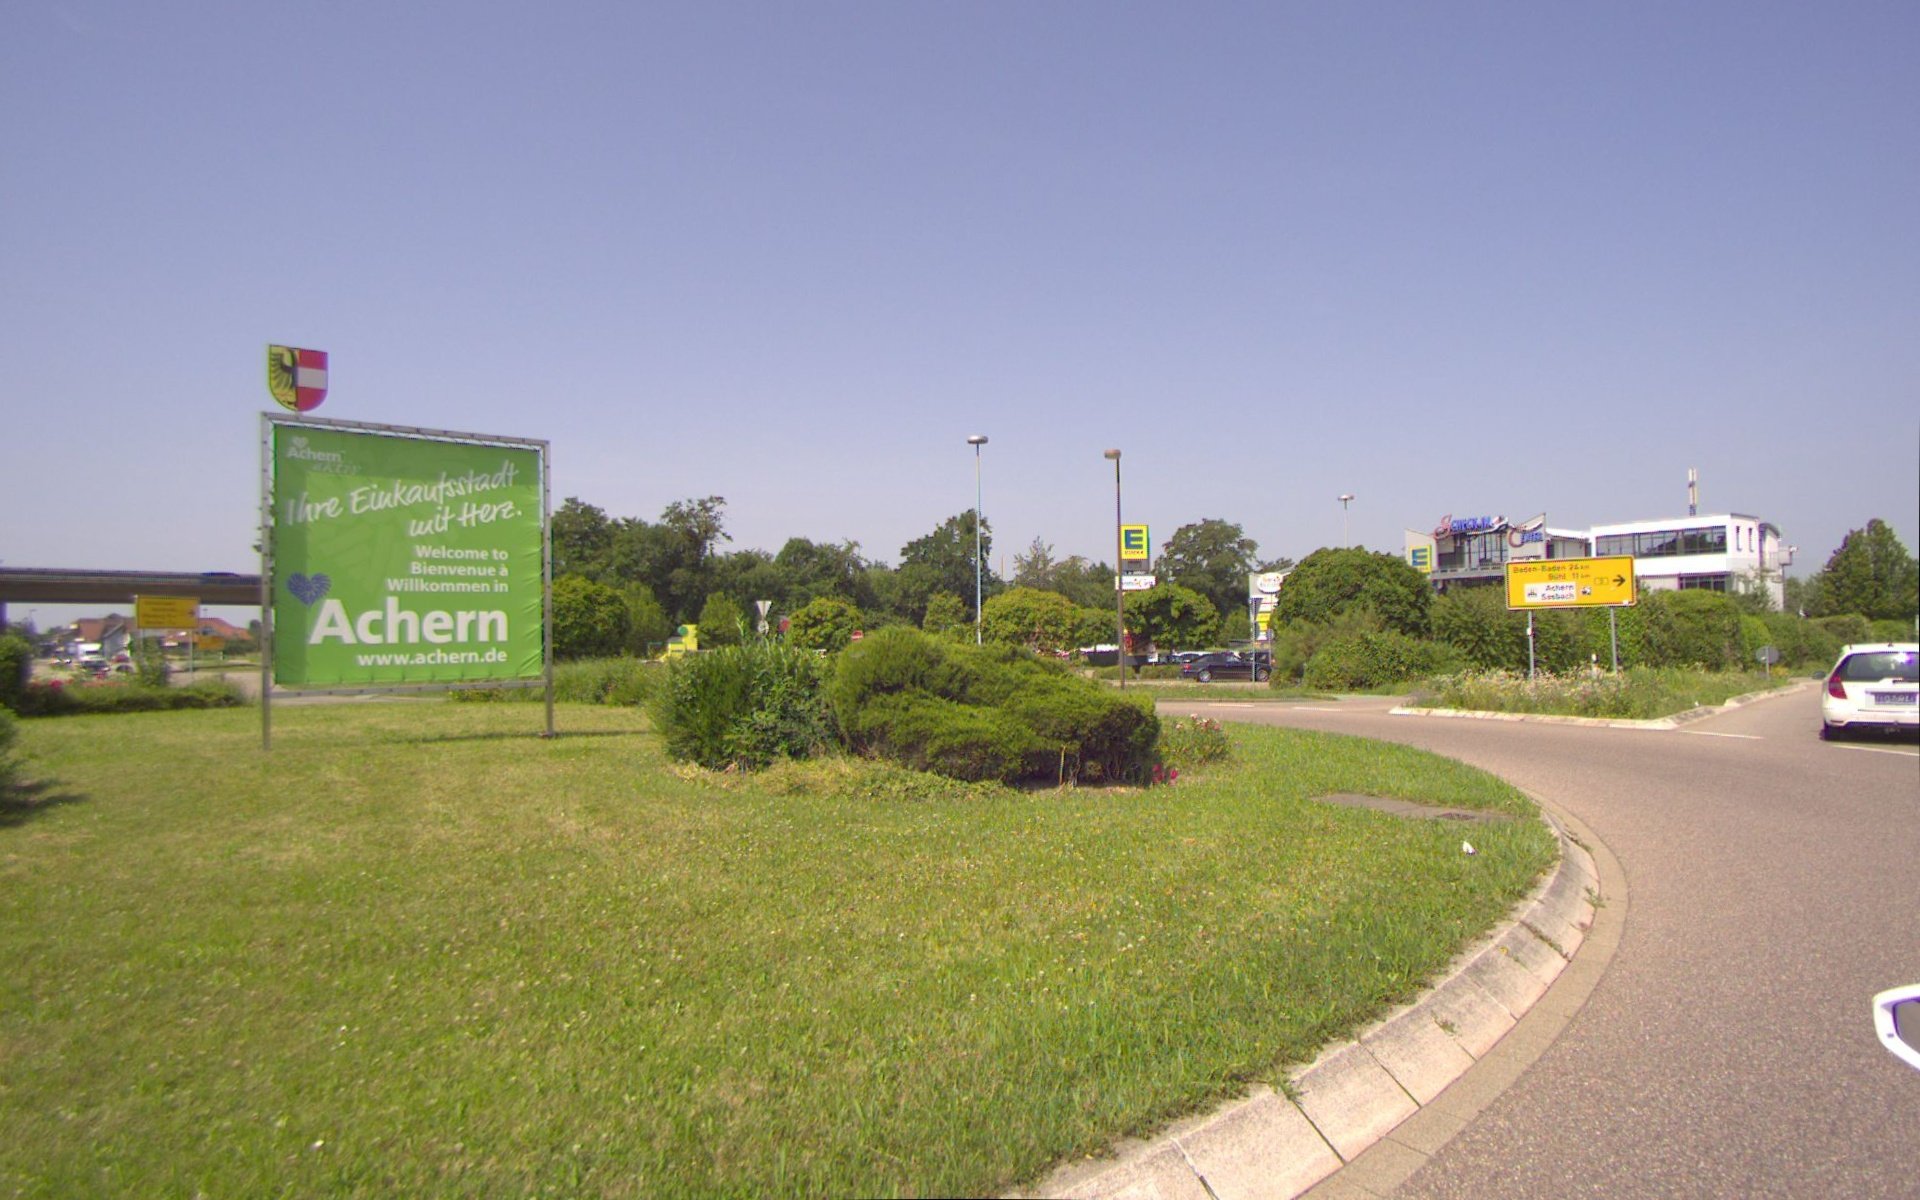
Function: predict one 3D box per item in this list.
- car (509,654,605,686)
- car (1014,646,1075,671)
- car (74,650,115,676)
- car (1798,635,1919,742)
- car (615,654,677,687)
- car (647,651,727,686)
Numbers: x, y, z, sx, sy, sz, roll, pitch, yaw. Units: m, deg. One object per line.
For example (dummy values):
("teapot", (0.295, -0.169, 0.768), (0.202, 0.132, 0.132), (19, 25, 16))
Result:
("car", (-21.560, 3.728, 53.835), (4.378, 1.582, 1.852), (3, -3, -45))
("car", (5.661, 3.935, 67.489), (1.961, 1.536, 3.957), (3, -2, -38))
("car", (-61.914, 4.475, 71.903), (2.012, 1.674, 4.587), (2, -2, -38))
("car", (15.493, 1.437, 17.005), (1.758, 1.624, 3.879), (-1, -3, 37))
("car", (-16.112, 3.587, 51.765), (1.554, 1.517, 4.568), (1, -2, 2))
("car", (-15.381, 3.851, 56.768), (3.921, 1.817, 2.000), (1, -2, 0))
